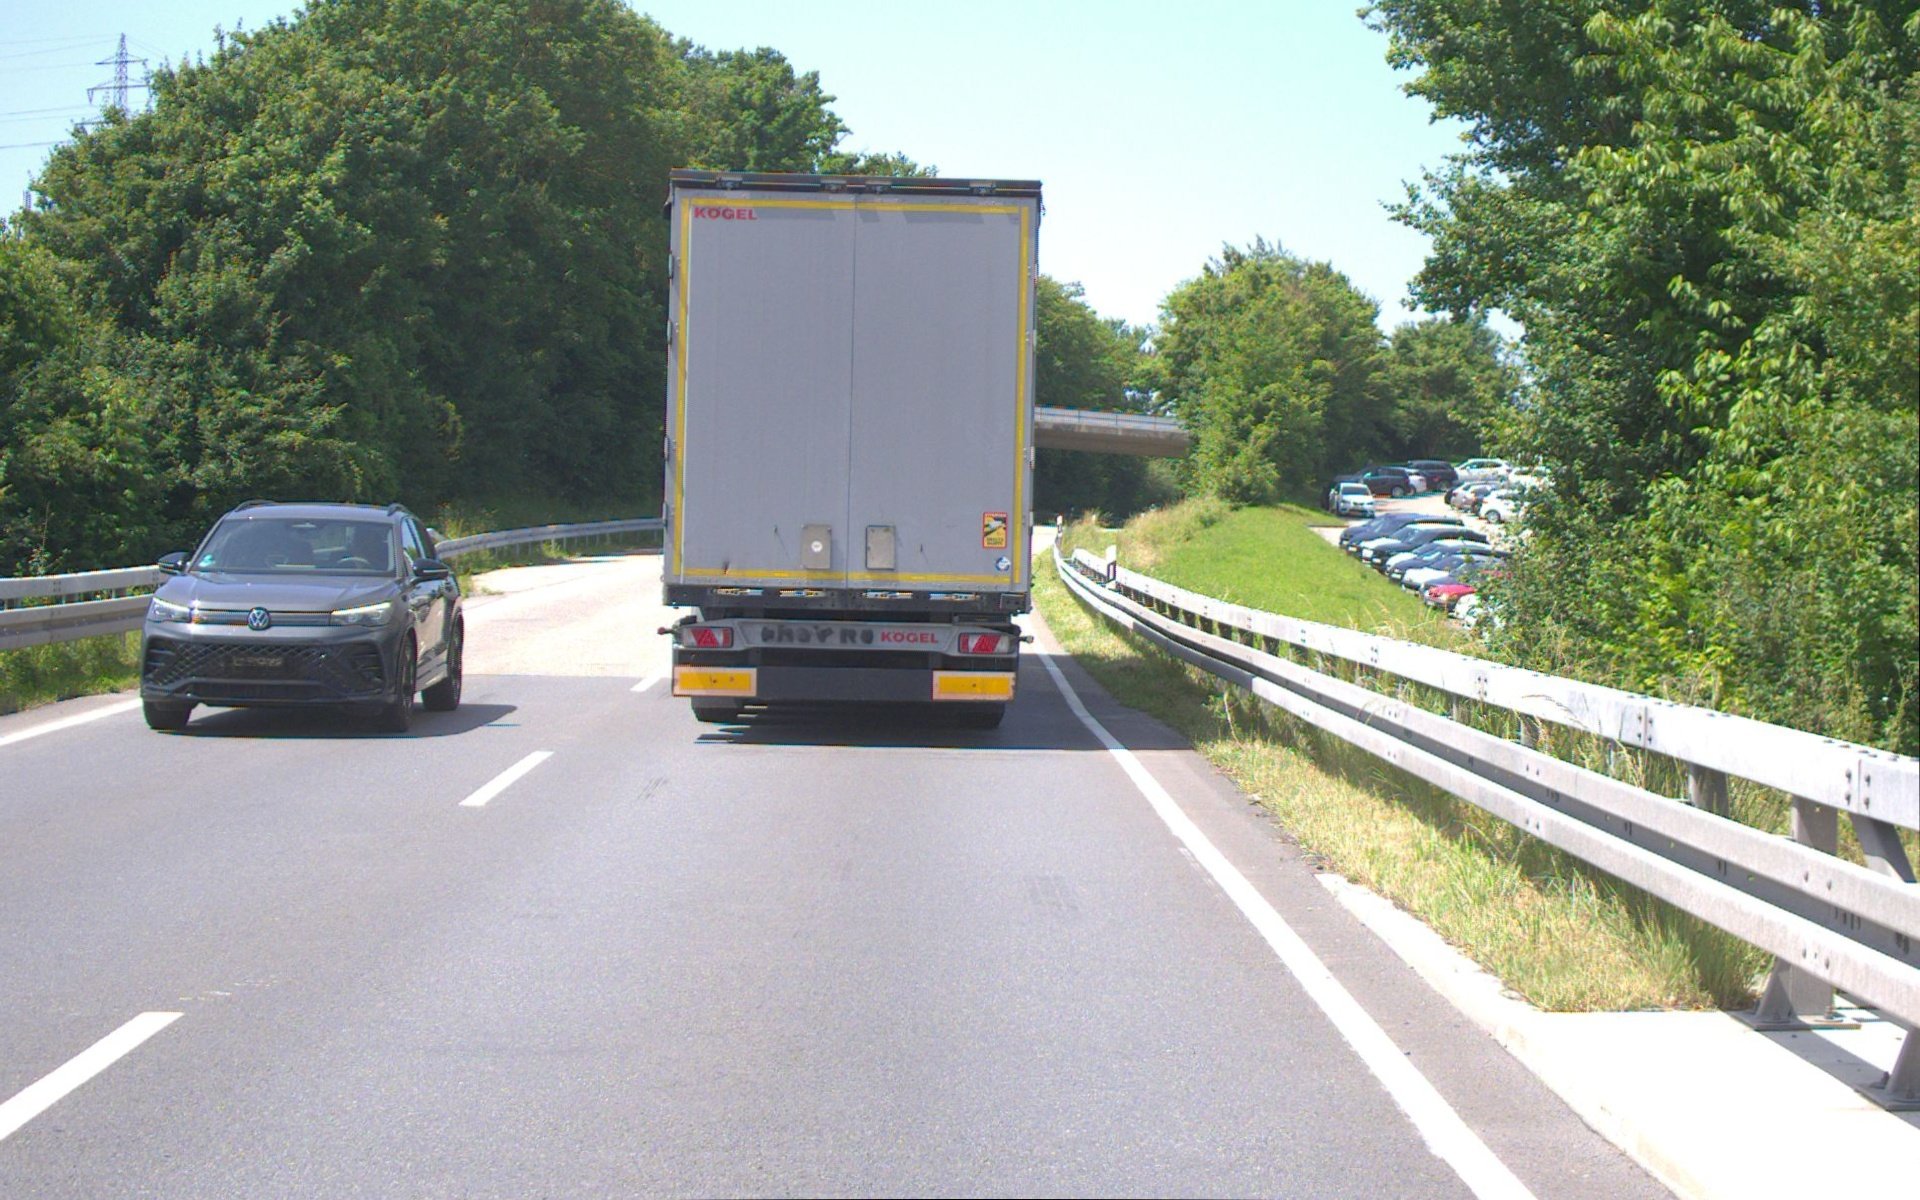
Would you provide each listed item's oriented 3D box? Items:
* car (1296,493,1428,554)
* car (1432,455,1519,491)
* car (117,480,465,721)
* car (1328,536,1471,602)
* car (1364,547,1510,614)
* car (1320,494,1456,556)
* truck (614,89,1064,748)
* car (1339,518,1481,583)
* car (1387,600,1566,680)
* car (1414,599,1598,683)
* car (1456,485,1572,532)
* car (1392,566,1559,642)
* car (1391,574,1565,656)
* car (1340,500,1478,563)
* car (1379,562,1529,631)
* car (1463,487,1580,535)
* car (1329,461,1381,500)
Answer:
[{"bbox_3d":[14.858,-2.824,127.088,4.362,1.679,1.889,5,5,-27],"label":"car"},{"bbox_3d":[28.643,-7.072,191.056,4.362,1.679,1.889,1,7,-26],"label":"car"},{"bbox_3d":[-4.869,-0.053,25.591,1.865,1.605,4.373,1,1,-2],"label":"car"},{"bbox_3d":[14.548,-1.028,113.664,4.363,1.679,1.889,4,5,-35],"label":"car"},{"bbox_3d":[15.398,-0.635,110.852,4.363,1.679,1.889,4,5,-35],"label":"car"},{"bbox_3d":[15.478,-2.720,124.351,4.362,1.679,1.889,5,5,-27],"label":"car"},{"bbox_3d":[-0.893,-1.421,28.302,2.866,4.344,9.790,3,2,-1],"label":"truck"},{"bbox_3d":[15.486,-1.691,118.275,4.362,1.679,1.889,5,5,-27],"label":"car"},{"bbox_3d":[14.376,1.106,95.769,4.372,1.553,1.885,10,5,30],"label":"car"},{"bbox_3d":[14.615,1.081,92.031,4.370,1.553,1.885,9,5,25],"label":"car"},{"bbox_3d":[24.238,-4.016,150.477,4.578,1.623,1.818,7,4,22],"label":"car"},{"bbox_3d":[15.325,0.119,102.223,4.361,1.679,1.889,5,5,-20],"label":"car"},{"bbox_3d":[14.876,0.421,98.748,4.452,1.679,1.886,9,5,23],"label":"car"},{"bbox_3d":[15.887,-2.436,121.705,4.362,1.679,1.889,5,5,-27],"label":"car"},{"bbox_3d":[15.501,-0.100,107.795,4.363,1.679,1.889,4,5,-35],"label":"car"},{"bbox_3d":[24.140,-3.833,147.810,4.578,1.623,1.818,6,4,22],"label":"car"},{"bbox_3d":[17.565,-5.321,152.922,1.624,1.348,3.712,7,4,-2],"label":"car"}]
